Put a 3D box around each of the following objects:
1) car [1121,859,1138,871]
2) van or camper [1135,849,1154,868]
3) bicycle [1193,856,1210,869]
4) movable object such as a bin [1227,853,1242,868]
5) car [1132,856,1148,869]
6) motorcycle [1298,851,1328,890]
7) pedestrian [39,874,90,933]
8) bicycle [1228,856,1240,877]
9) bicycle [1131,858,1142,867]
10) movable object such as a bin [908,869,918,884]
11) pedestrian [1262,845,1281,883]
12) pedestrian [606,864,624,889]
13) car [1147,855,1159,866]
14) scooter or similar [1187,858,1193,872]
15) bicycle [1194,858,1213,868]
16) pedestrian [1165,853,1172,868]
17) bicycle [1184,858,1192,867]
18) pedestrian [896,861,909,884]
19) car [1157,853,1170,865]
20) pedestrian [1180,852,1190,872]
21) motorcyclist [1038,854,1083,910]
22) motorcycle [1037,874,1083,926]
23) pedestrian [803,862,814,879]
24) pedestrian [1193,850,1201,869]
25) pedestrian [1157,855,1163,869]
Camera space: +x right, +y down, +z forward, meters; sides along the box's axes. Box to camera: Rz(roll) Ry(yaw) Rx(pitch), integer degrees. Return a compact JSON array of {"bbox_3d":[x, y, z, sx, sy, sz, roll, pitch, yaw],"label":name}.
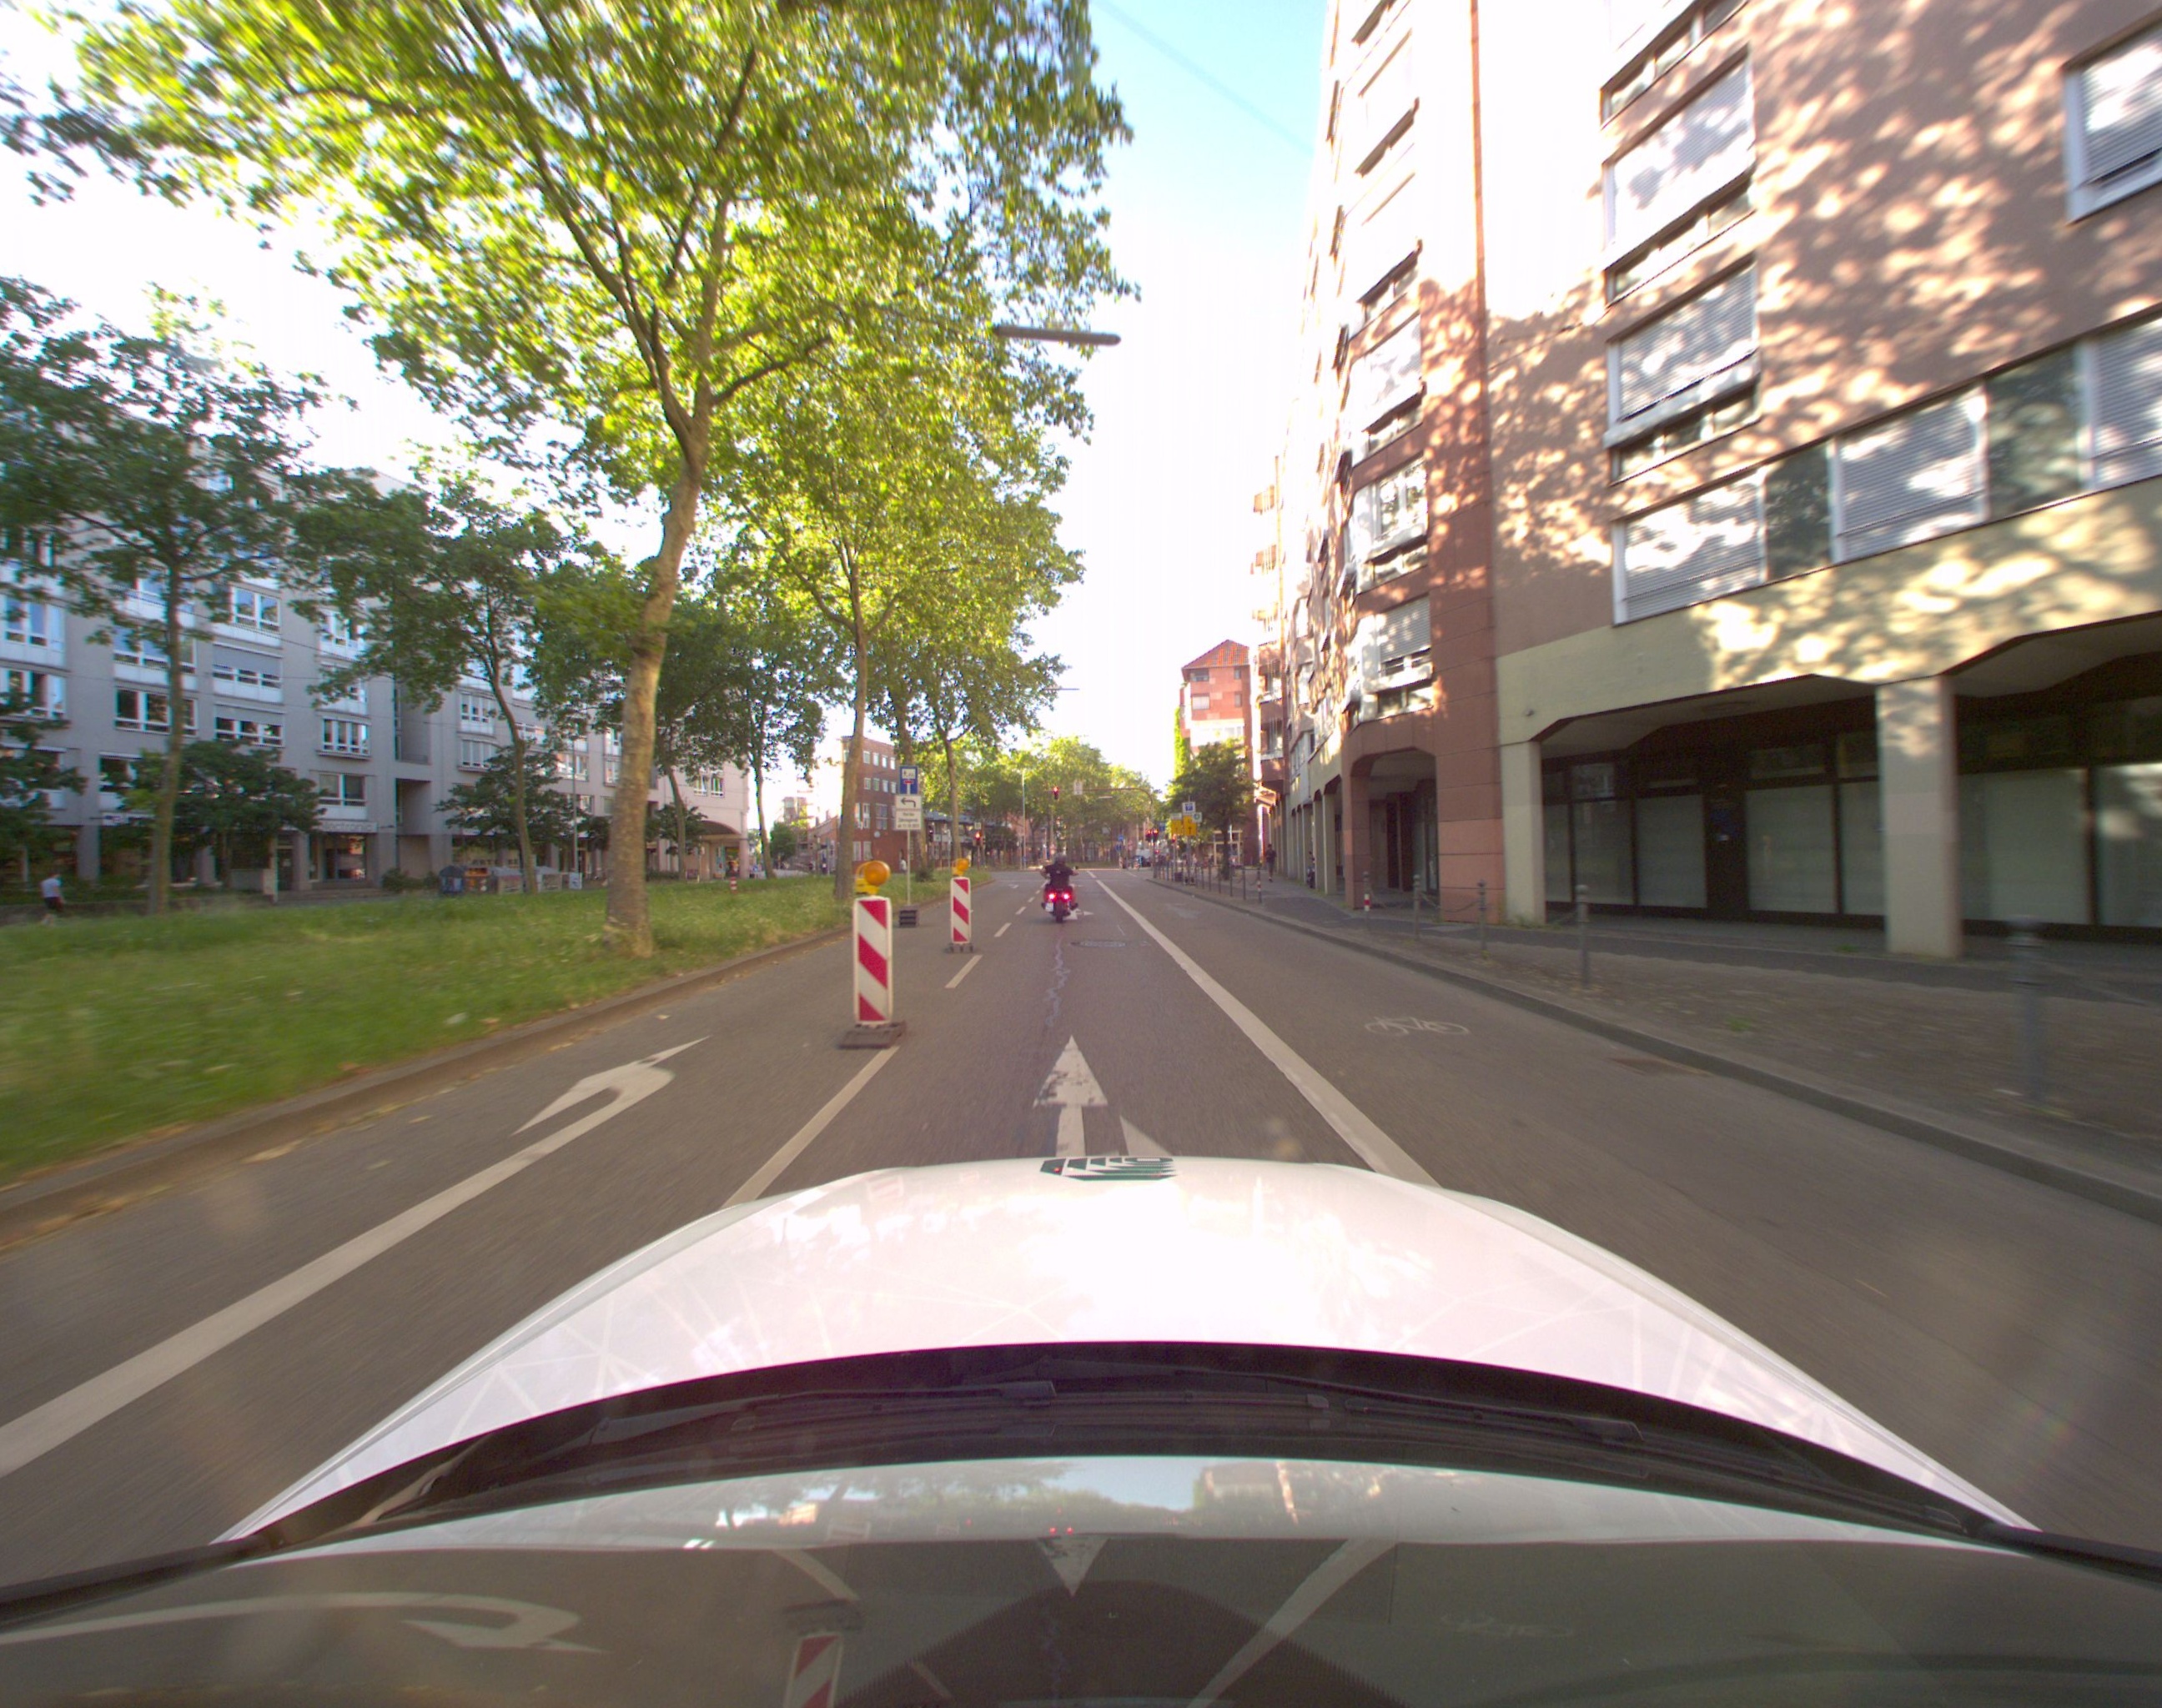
[{"bbox_3d":[5.799,1.290,96.360,1.611,1.302,4.322,-2,0,8],"label":"car"},{"bbox_3d":[8.876,0.656,112.792,2.036,2.540,5.789,-2,0,10],"label":"van or camper"},{"bbox_3d":[11.908,0.863,80.493,1.559,1.227,0.578,-1,0,5],"label":"bicycle"},{"bbox_3d":[14.651,0.615,77.755,1.401,1.482,0.874,-1,0,11],"label":"movable object such as a bin"},{"bbox_3d":[7.715,1.154,106.275,1.610,1.619,4.497,-2,0,9],"label":"car"},{"bbox_3d":[8.648,0.602,30.429,0.486,1.372,2.090,-1,0,0],"label":"motorcycle"},{"bbox_3d":[-31.086,1.495,24.914,0.726,1.740,0.648,-1,0,3],"label":"pedestrian"},{"bbox_3d":[9.243,0.730,49.258,0.617,1.225,1.933,-1,0,12],"label":"bicycle"},{"bbox_3d":[6.081,0.935,89.432,0.737,1.053,1.746,-1,0,-9],"label":"bicycle"},{"bbox_3d":[-11.153,1.492,54.081,0.506,0.953,0.541,-1,0,13],"label":"movable object such as a bin"},{"bbox_3d":[8.764,0.452,37.515,0.776,1.738,0.839,-1,0,8],"label":"pedestrian"},{"bbox_3d":[-31.777,1.527,55.557,0.702,1.639,0.791,-1,0,11],"label":"pedestrian"},{"bbox_3d":[11.241,0.996,126.146,1.611,1.610,3.783,-2,0,8],"label":"car"},{"bbox_3d":[9.752,0.988,72.875,0.392,1.158,1.251,-2,0,6],"label":"scooter or similar"},{"bbox_3d":[12.609,0.922,83.630,1.730,1.053,0.744,-2,0,27],"label":"bicycle"},{"bbox_3d":[10.270,0.779,95.672,0.697,1.733,0.768,-1,-1,3],"label":"pedestrian"},{"bbox_3d":[11.669,0.891,88.748,0.734,0.939,1.754,-1,0,4],"label":"bicycle"},{"bbox_3d":[-11.831,1.197,54.073,0.614,1.503,0.536,-1,0,13],"label":"pedestrian"},{"bbox_3d":[13.887,0.829,137.022,1.824,2.014,4.399,-2,0,9],"label":"car"},{"bbox_3d":[9.333,0.705,72.891,0.784,1.763,0.609,-1,-1,-3],"label":"pedestrian"},{"bbox_3d":[-0.491,0.650,19.075,1.009,1.263,0.773,1,0,-3],"label":"motorcyclist"},{"bbox_3d":[-0.508,1.037,19.005,1.015,1.097,2.005,-1,0,-3],"label":"motorcycle"},{"bbox_3d":[-29.868,1.797,89.233,0.850,1.869,0.754,-2,0,8],"label":"pedestrian"},{"bbox_3d":[10.368,0.504,72.717,0.459,1.672,0.678,-1,-1,-7],"label":"pedestrian"},{"bbox_3d":[9.258,0.922,95.855,0.641,1.578,0.749,-1,-1,3],"label":"pedestrian"}]
